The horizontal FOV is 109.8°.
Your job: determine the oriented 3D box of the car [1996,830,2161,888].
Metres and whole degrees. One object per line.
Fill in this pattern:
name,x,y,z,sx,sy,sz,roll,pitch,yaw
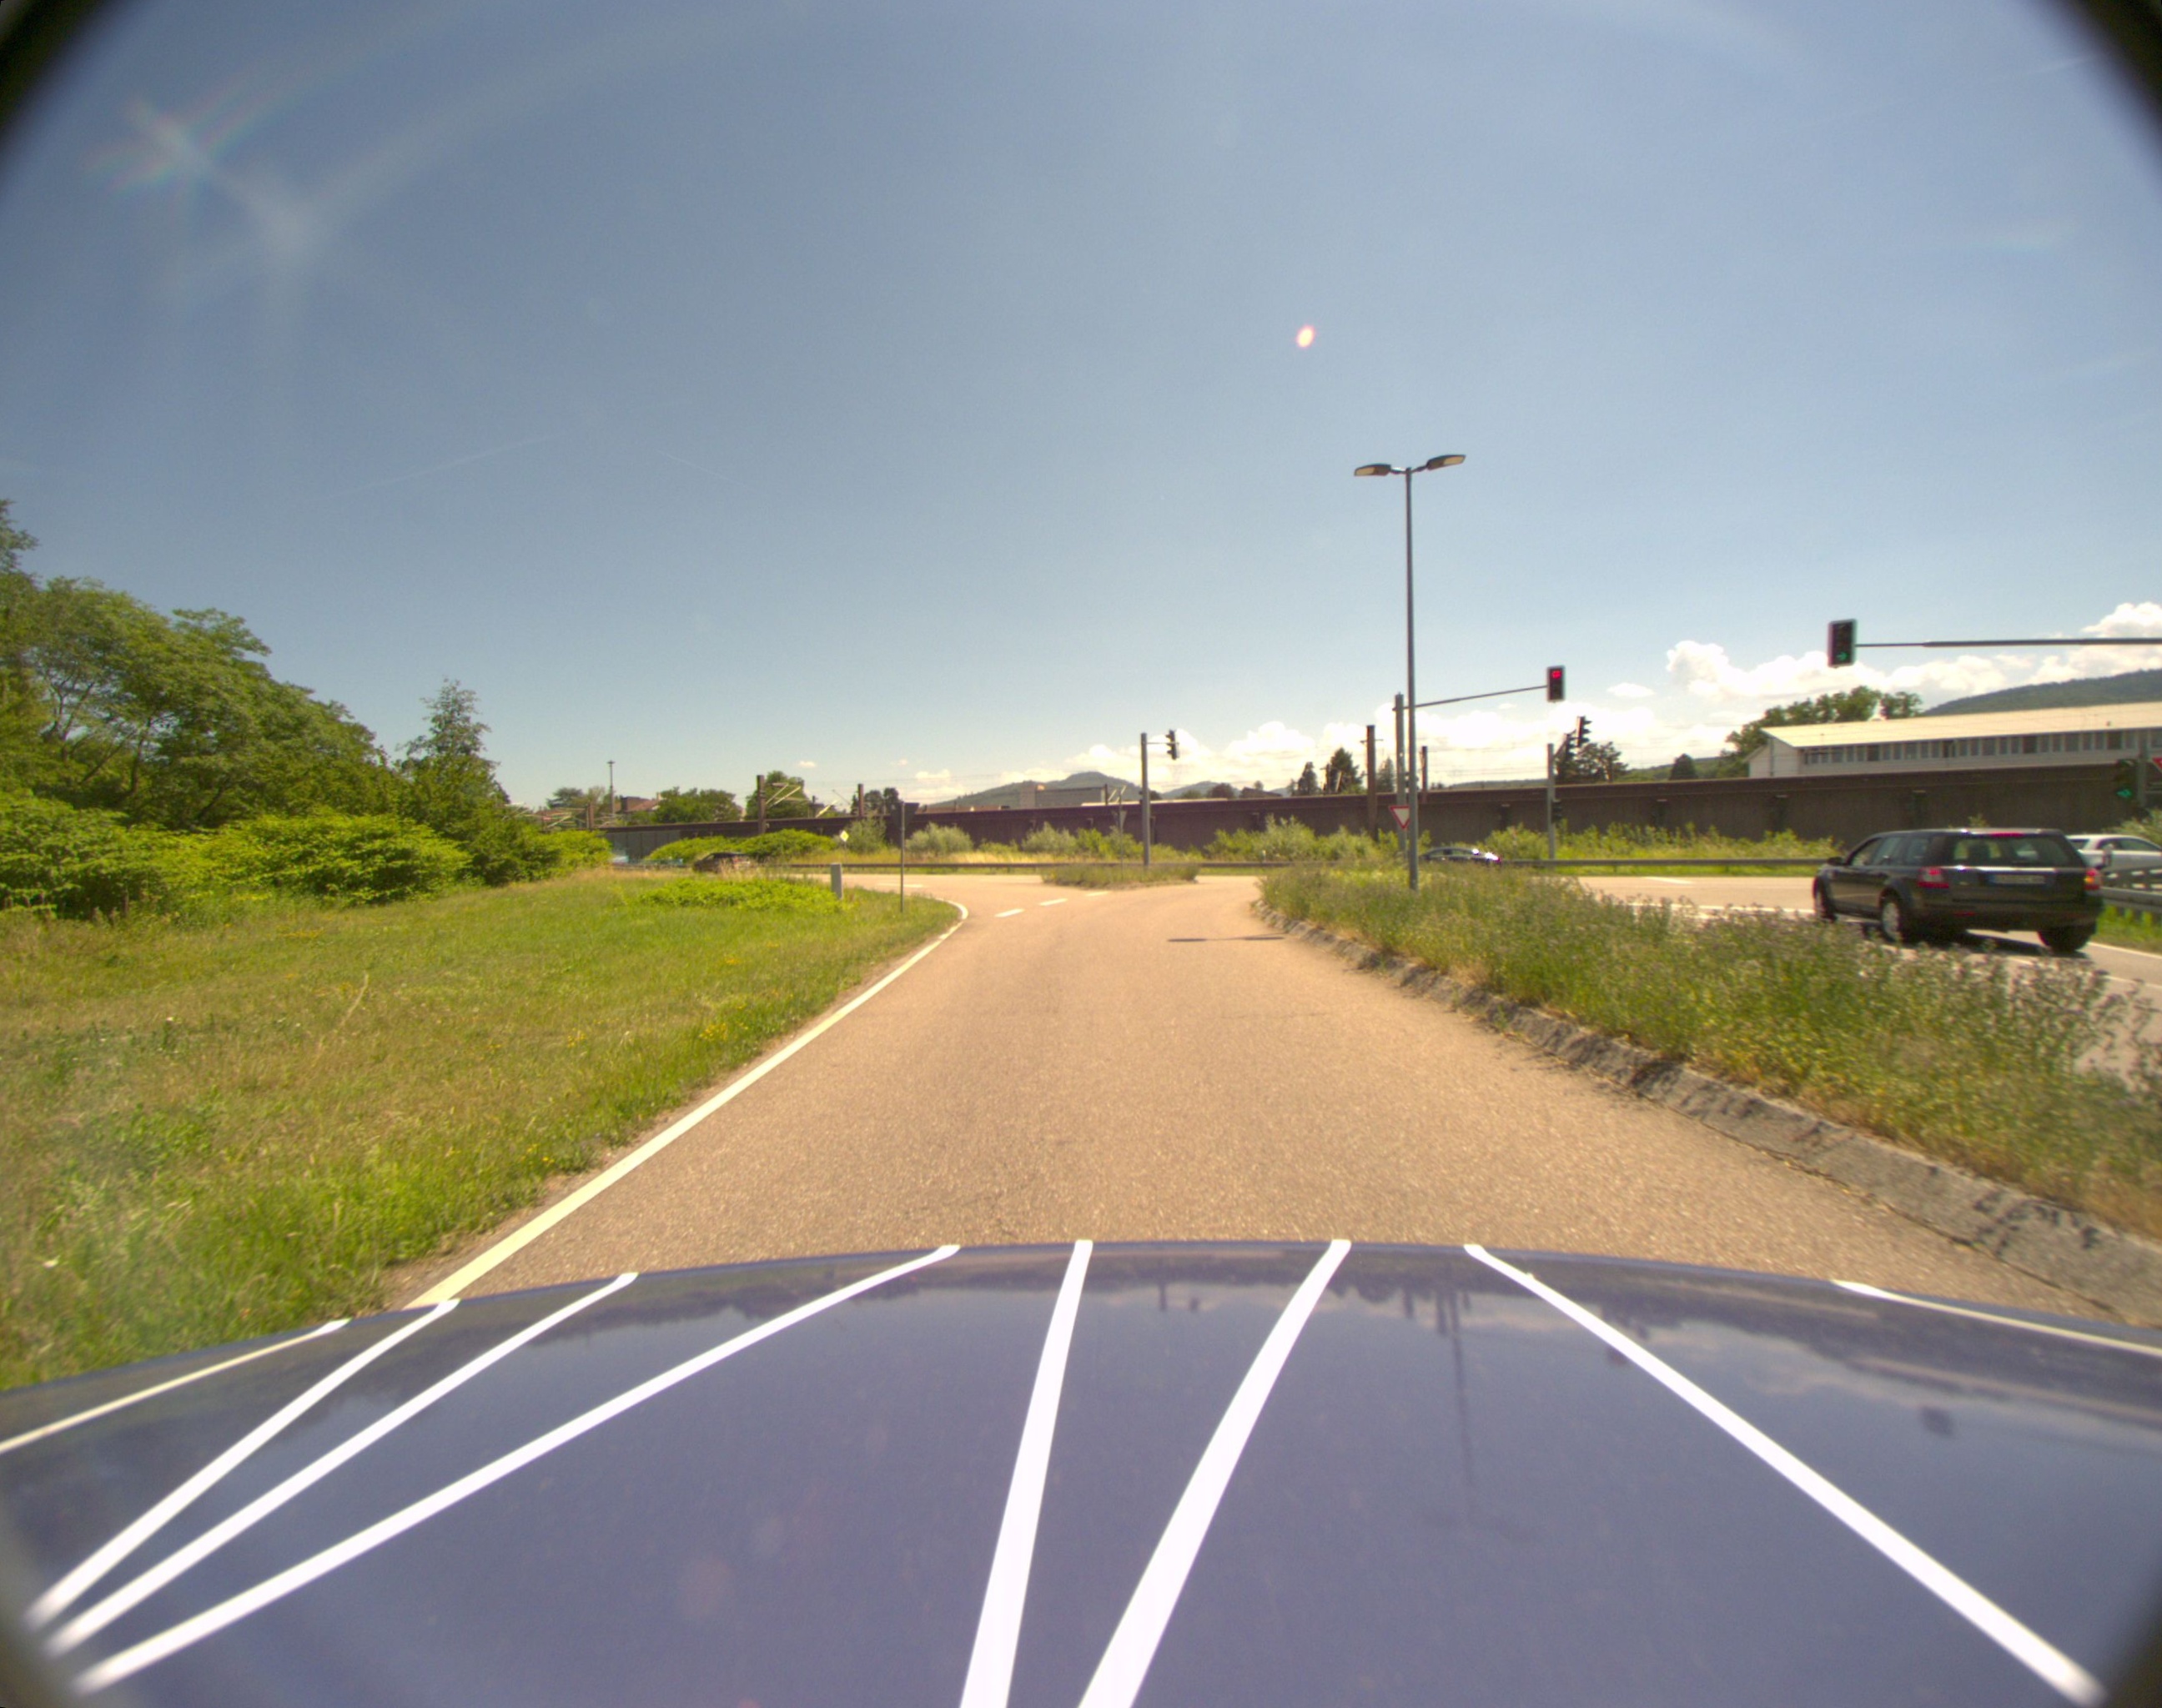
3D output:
car,26.682,0.099,19.711,3.857,1.401,1.732,-1,1,-1

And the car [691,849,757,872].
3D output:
car,-26.124,0.477,55.560,4.611,1.617,1.708,0,0,24

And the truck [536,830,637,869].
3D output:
truck,-41.089,-0.342,63.090,8.602,3.132,2.928,0,0,26

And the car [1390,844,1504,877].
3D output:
car,16.487,0.284,34.336,4.506,1.446,1.792,0,1,26

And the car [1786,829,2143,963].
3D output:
car,13.671,0.514,12.261,1.995,1.712,4.491,2,1,24
